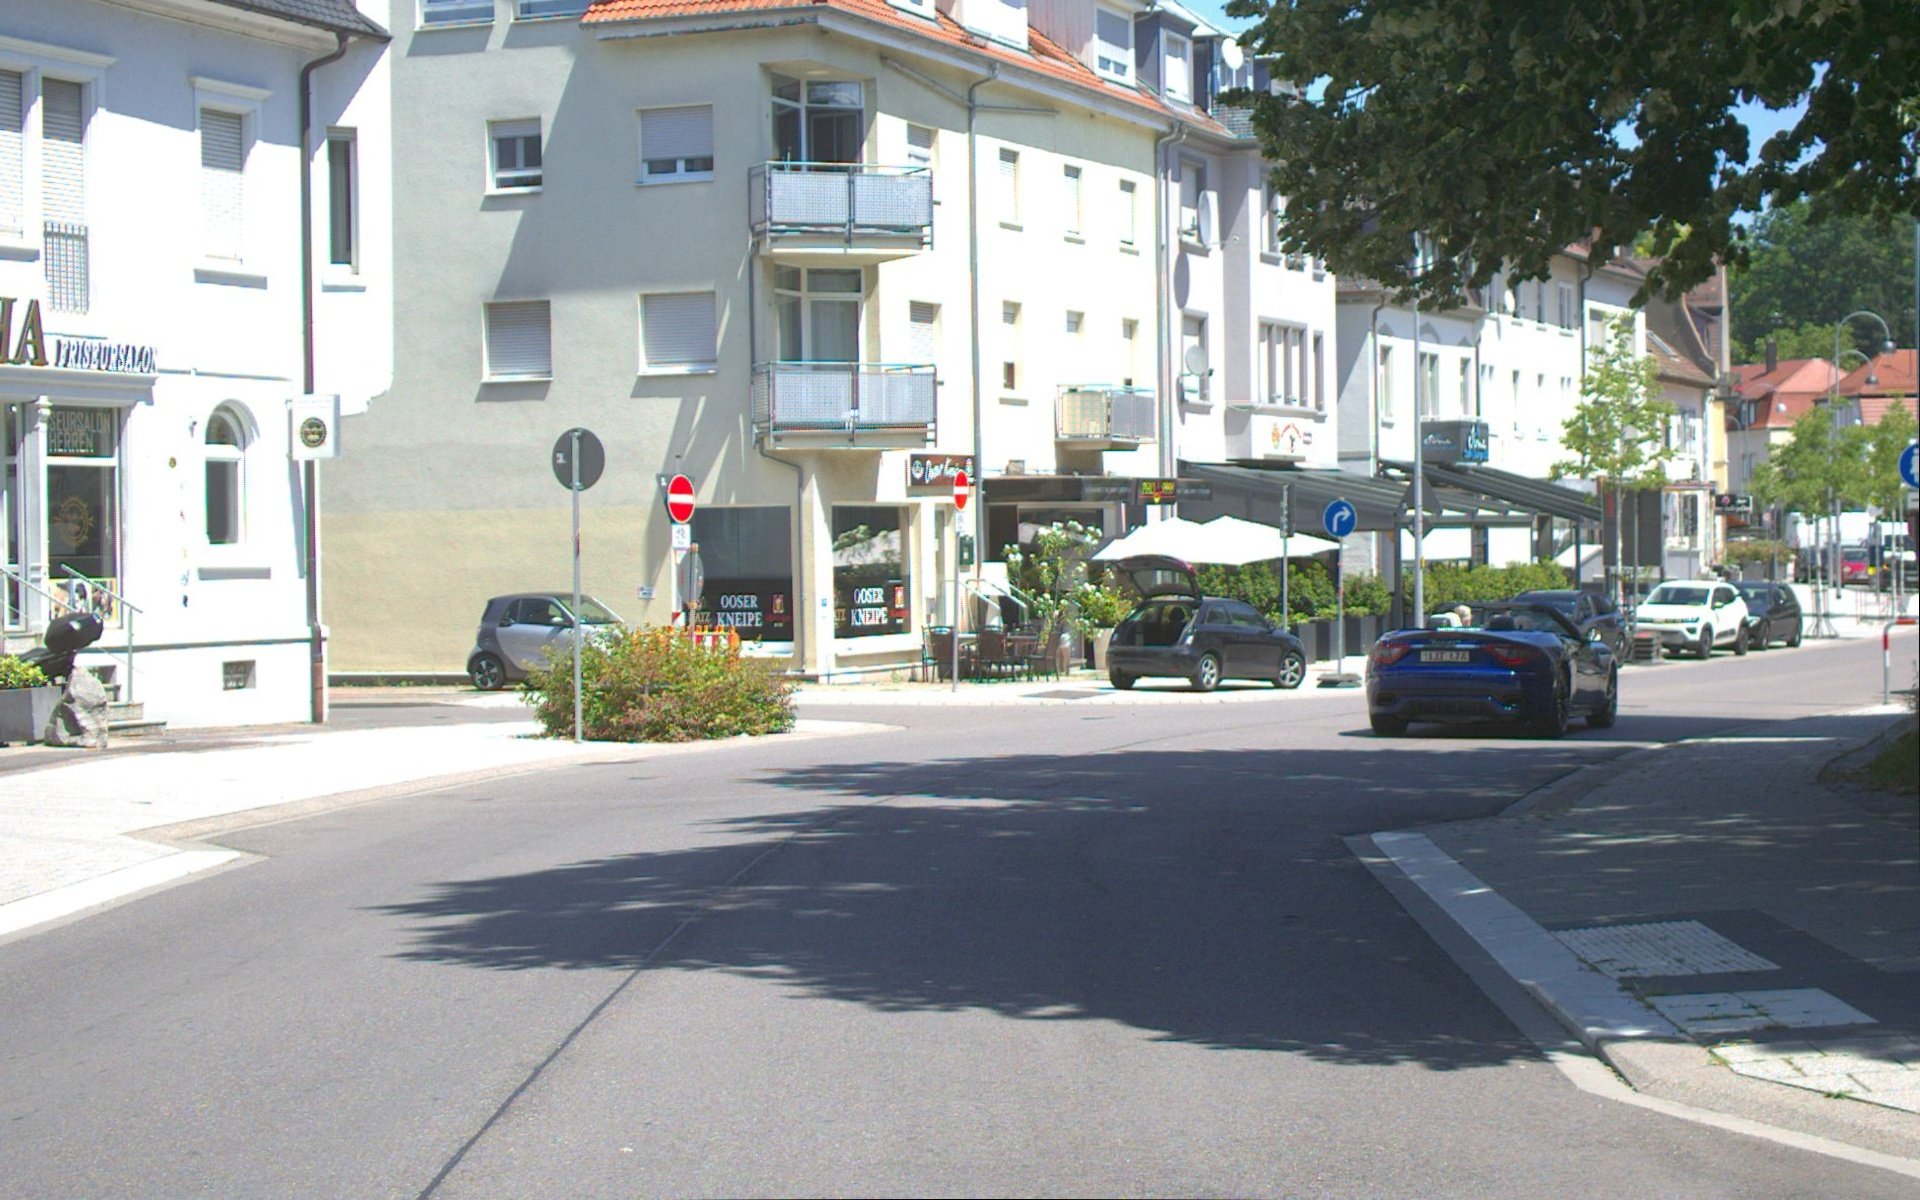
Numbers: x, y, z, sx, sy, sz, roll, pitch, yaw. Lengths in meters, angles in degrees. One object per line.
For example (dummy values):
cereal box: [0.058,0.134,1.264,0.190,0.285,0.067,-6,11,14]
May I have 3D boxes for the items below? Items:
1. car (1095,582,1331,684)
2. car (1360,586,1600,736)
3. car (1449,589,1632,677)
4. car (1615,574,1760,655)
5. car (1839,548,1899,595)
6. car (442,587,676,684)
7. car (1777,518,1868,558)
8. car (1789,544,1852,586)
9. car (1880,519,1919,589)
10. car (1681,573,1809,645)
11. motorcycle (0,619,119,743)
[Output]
car: [3.963,0.493,53.244,1.716,1.455,4.121,2,1,35]
car: [5.353,0.569,34.927,1.872,1.337,4.593,1,1,15]
car: [10.523,0.563,62.098,1.837,1.424,4.775,1,2,28]
car: [14.556,0.273,68.658,1.647,1.474,3.934,2,2,30]
car: [34.564,-1.077,130.789,1.994,1.732,3.998,-1,0,12]
car: [-6.364,0.562,54.600,3.266,1.453,1.690,-1,1,21]
car: [45.714,-3.288,182.264,4.257,2.007,2.000,1,-1,-18]
car: [35.814,-1.479,143.142,1.994,1.686,3.999,0,1,6]
car: [33.563,-1.633,121.576,1.868,2.392,4.815,-1,1,14]
car: [16.796,0.176,73.427,1.672,1.438,4.004,0,1,28]
motorcycle: [-9.705,0.806,34.604,2.398,1.213,0.832,0,-1,23]
